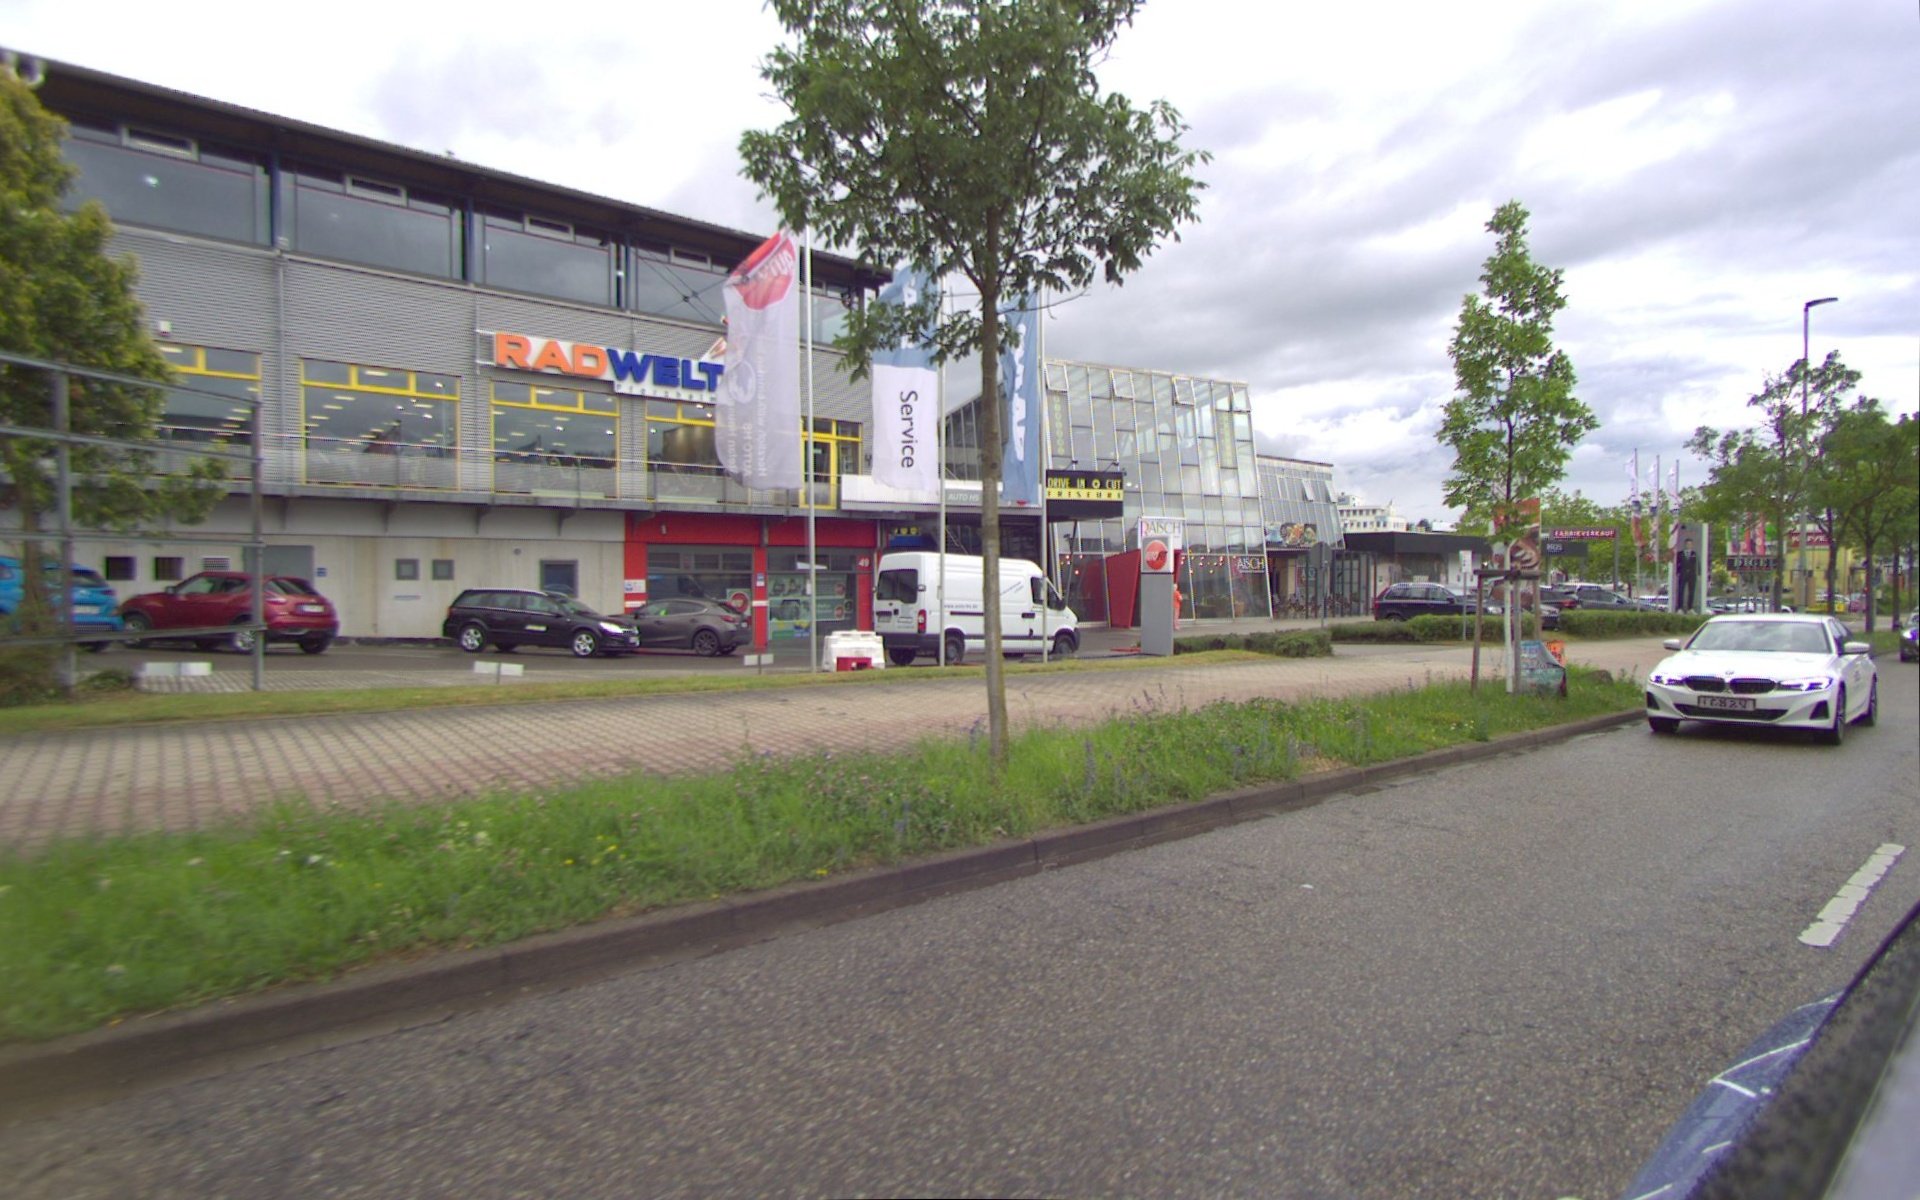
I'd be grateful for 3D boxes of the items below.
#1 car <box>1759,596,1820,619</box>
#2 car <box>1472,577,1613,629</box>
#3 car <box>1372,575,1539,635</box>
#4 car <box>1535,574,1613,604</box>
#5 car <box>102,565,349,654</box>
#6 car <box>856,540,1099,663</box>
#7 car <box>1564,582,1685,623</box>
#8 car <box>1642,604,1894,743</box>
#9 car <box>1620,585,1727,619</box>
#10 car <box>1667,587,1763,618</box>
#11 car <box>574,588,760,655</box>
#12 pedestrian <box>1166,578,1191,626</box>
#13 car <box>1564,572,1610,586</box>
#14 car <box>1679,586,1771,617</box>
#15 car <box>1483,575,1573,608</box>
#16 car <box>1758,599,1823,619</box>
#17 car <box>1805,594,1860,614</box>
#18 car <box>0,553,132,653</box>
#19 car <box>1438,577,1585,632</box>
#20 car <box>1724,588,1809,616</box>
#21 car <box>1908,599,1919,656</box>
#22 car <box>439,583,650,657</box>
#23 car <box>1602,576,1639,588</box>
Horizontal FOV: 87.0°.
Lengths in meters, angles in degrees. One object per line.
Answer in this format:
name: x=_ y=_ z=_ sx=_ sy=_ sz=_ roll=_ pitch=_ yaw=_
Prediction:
car: x=61.269 y=0.519 z=74.826 sx=1.714 sy=1.599 sz=3.865 roll=2 pitch=0 yaw=8
car: x=21.861 y=0.081 z=38.138 sx=1.767 sy=1.620 sz=4.182 roll=1 pitch=4 yaw=-38
car: x=16.426 y=0.114 z=33.789 sx=1.888 sy=1.620 sz=4.678 roll=1 pitch=3 yaw=-31
car: x=42.153 y=-0.755 z=69.539 sx=4.043 sy=1.766 sz=1.799 roll=3 pitch=4 yaw=5
car: x=-14.422 y=0.179 z=19.953 sx=3.811 sy=1.521 sz=1.734 roll=2 pitch=-1 yaw=10
car: x=0.530 y=0.153 z=23.726 sx=5.577 sy=2.570 sz=2.231 roll=3 pitch=-3 yaw=-39
car: x=29.931 y=0.080 z=45.684 sx=1.830 sy=1.490 sz=4.178 roll=0 pitch=4 yaw=-41
car: x=10.317 y=0.787 z=12.793 sx=4.464 sy=1.459 sz=1.806 roll=0 pitch=-1 yaw=-42
car: x=37.489 y=0.083 z=53.294 sx=4.120 sy=1.490 sz=1.784 roll=3 pitch=3 yaw=13
car: x=43.033 y=0.120 z=57.763 sx=3.949 sy=1.454 sz=1.741 roll=3 pitch=3 yaw=6
car: x=-7.425 y=0.529 z=25.906 sx=4.183 sy=1.489 sz=1.781 roll=2 pitch=-1 yaw=4
pedestrian: x=8.319 y=0.068 z=38.524 sx=0.735 sy=1.781 sz=0.686 roll=-1 pitch=1 yaw=-9
car: x=86.296 y=-2.881 z=139.350 sx=1.999 sy=1.820 sz=5.089 roll=1 pitch=2 yaw=-41
car: x=47.159 y=0.095 z=62.464 sx=4.111 sy=1.598 sz=1.739 roll=3 pitch=3 yaw=11
car: x=35.235 y=-0.531 z=62.877 sx=4.427 sy=1.701 sz=1.796 roll=3 pitch=4 yaw=11
car: x=67.091 y=0.712 z=81.808 sx=3.987 sy=1.529 sz=1.717 roll=0 pitch=3 yaw=44
car: x=86.500 y=0.387 z=100.418 sx=3.978 sy=1.835 sz=1.744 roll=2 pitch=1 yaw=38
car: x=-16.729 y=-0.001 z=17.352 sx=3.845 sy=1.579 sz=1.735 roll=2 pitch=-1 yaw=8
car: x=19.641 y=0.103 z=36.185 sx=1.794 sy=1.620 sz=4.182 roll=1 pitch=4 yaw=-38
car: x=55.879 y=0.113 z=70.164 sx=4.236 sy=1.598 sz=1.743 roll=3 pitch=3 yaw=3
car: x=29.139 y=0.779 z=29.543 sx=4.146 sy=1.601 sz=1.796 roll=0 pitch=-1 yaw=-42
car: x=-9.616 y=0.447 z=23.574 sx=4.186 sy=1.489 sz=1.736 roll=2 pitch=-1 yaw=6
car: x=95.588 y=-2.668 z=146.495 sx=1.792 sy=1.601 sz=4.218 roll=1 pitch=2 yaw=-41
